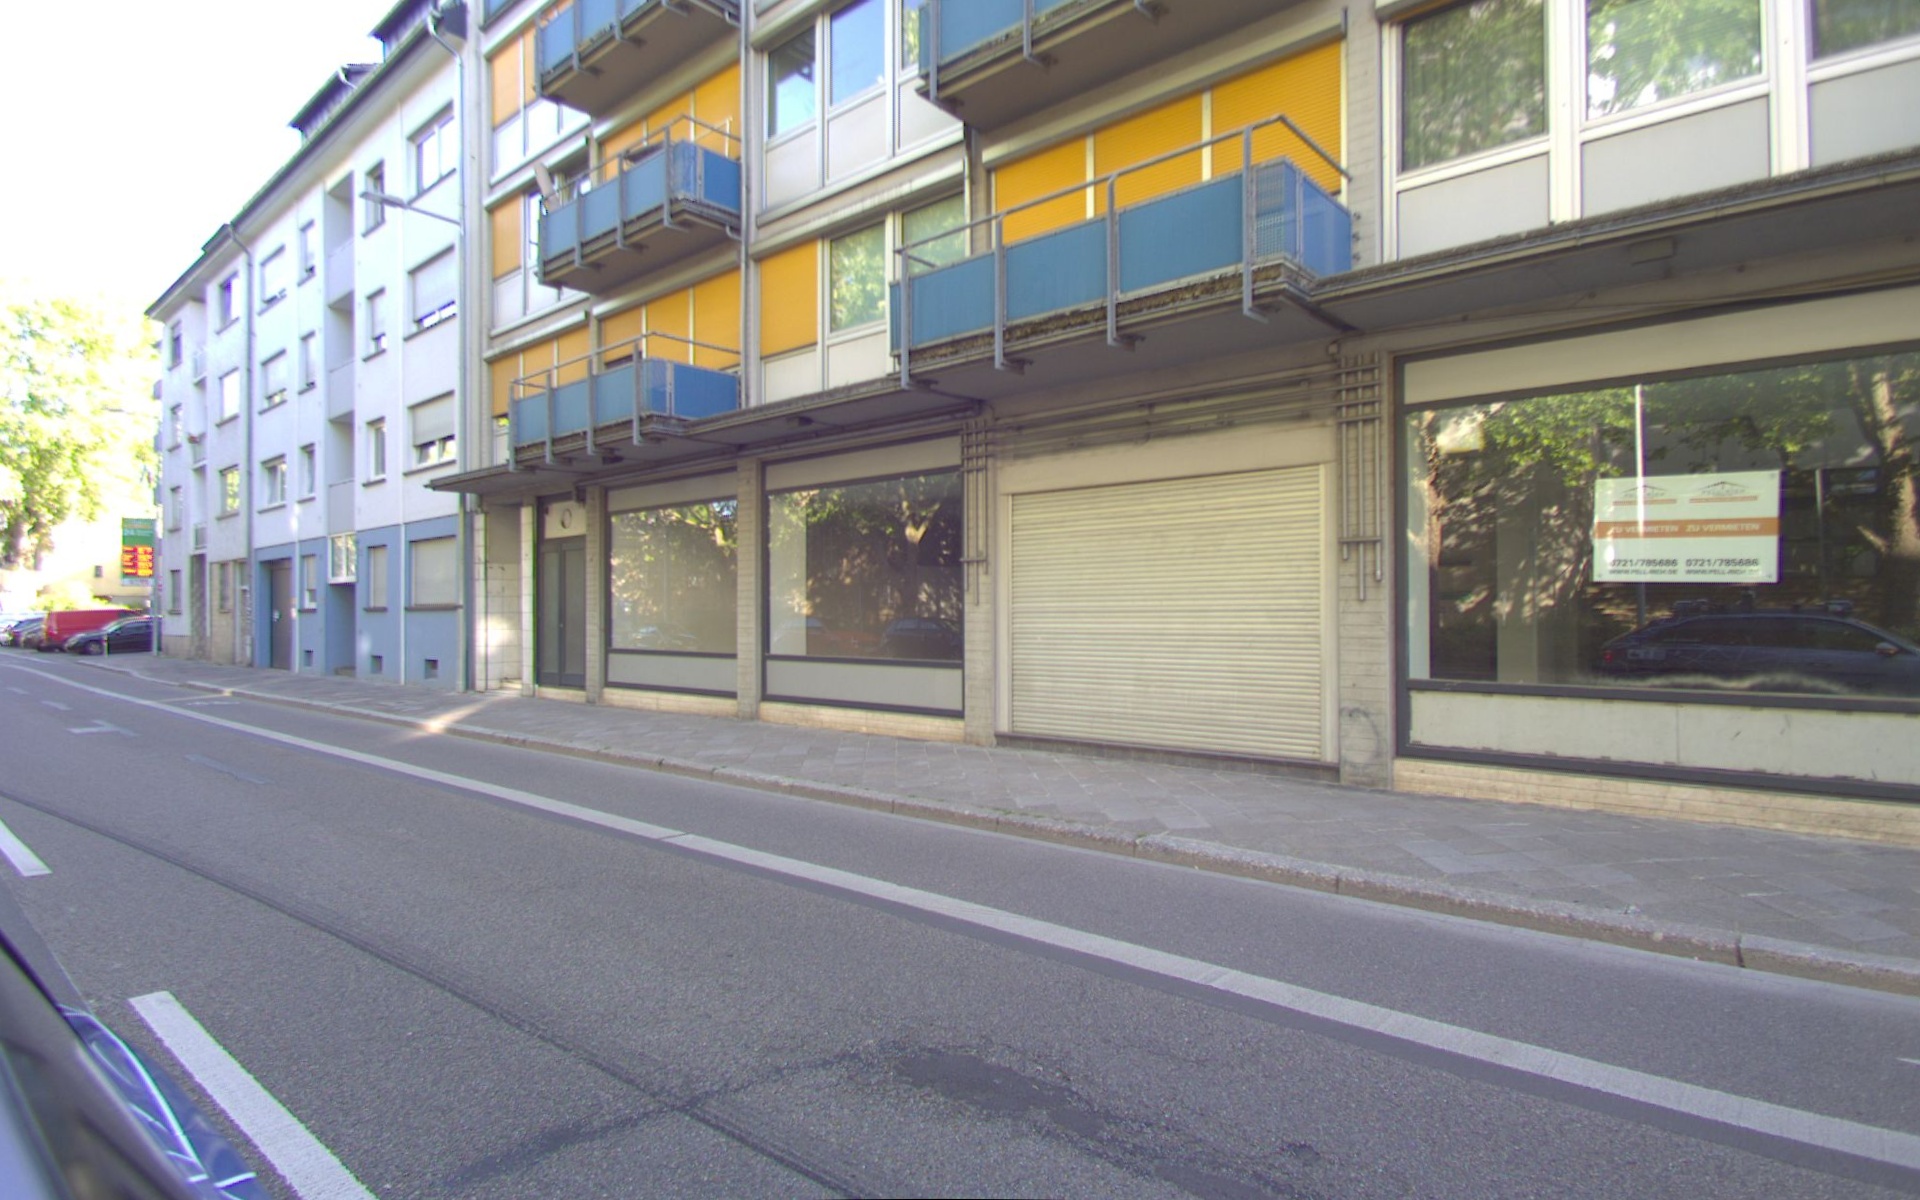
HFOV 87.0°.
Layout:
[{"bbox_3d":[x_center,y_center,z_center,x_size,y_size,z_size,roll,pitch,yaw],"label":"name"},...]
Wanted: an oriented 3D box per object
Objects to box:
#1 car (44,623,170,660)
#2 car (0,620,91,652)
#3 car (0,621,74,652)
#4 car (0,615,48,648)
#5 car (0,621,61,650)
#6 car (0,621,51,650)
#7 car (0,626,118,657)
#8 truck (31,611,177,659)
[{"bbox_3d":[-36.826,1.757,43.765,1.780,1.404,3.947,-1,0,39],"label":"car"},{"bbox_3d":[-50.816,1.973,55.954,1.699,1.640,3.952,-1,0,35],"label":"car"},{"bbox_3d":[-52.877,2.042,57.457,1.656,1.599,3.615,-1,0,35],"label":"car"},{"bbox_3d":[-59.718,1.973,63.787,1.693,1.953,3.224,-1,0,43],"label":"car"},{"bbox_3d":[-55.061,2.086,58.986,1.715,1.594,3.660,-1,0,35],"label":"car"},{"bbox_3d":[-56.881,2.127,60.379,1.740,1.600,3.685,-1,0,35],"label":"car"},{"bbox_3d":[-43.221,1.959,48.600,1.904,1.282,3.983,-1,0,39],"label":"car"},{"bbox_3d":[-40.344,1.587,47.822,1.998,2.036,5.024,-1,0,40],"label":"truck"}]
